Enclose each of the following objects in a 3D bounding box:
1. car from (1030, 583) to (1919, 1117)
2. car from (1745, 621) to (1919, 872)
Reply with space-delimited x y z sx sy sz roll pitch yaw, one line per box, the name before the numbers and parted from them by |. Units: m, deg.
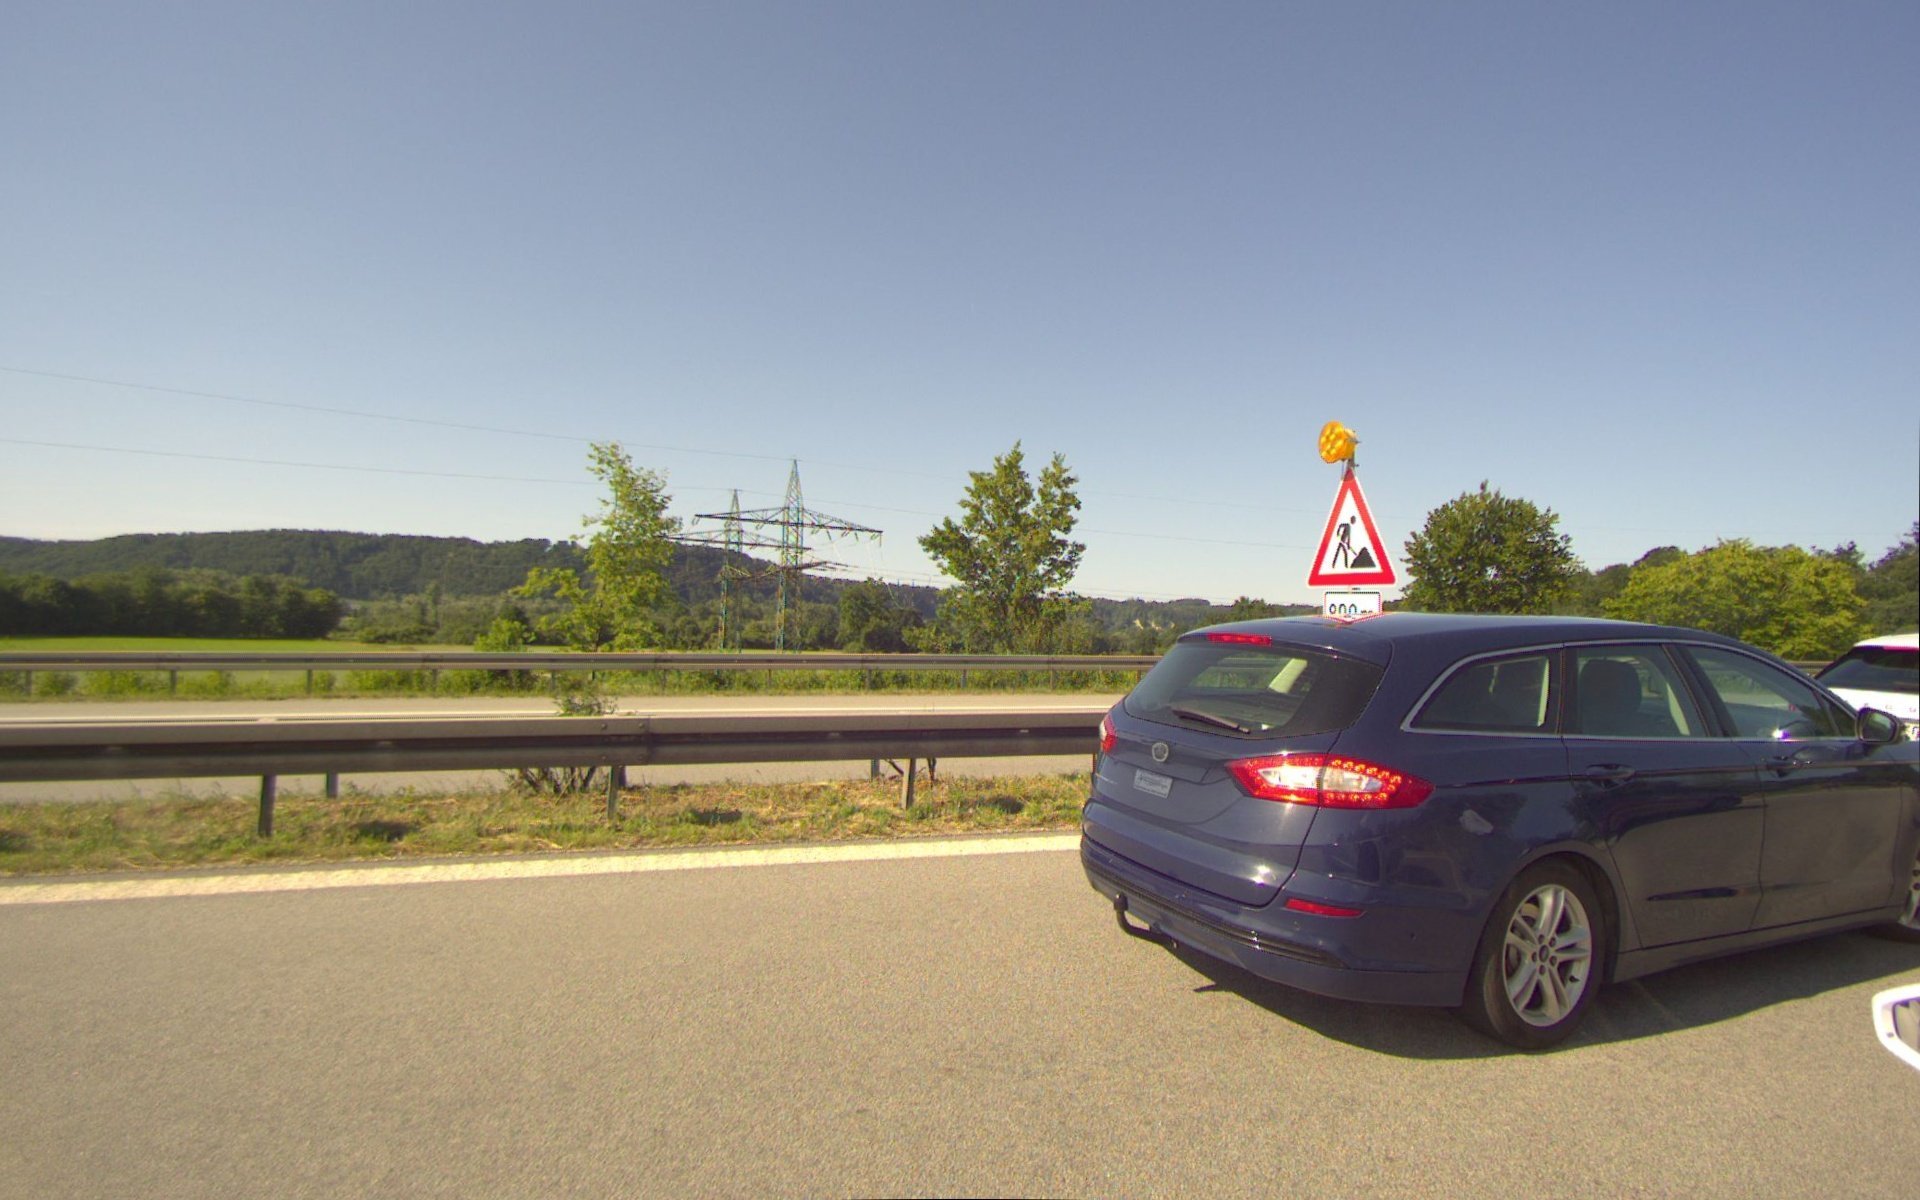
car | 2.689 0.770 4.610 4.432 1.513 1.783 1 -1 -25
car | 7.653 0.922 6.695 4.141 1.461 1.694 1 0 -16
